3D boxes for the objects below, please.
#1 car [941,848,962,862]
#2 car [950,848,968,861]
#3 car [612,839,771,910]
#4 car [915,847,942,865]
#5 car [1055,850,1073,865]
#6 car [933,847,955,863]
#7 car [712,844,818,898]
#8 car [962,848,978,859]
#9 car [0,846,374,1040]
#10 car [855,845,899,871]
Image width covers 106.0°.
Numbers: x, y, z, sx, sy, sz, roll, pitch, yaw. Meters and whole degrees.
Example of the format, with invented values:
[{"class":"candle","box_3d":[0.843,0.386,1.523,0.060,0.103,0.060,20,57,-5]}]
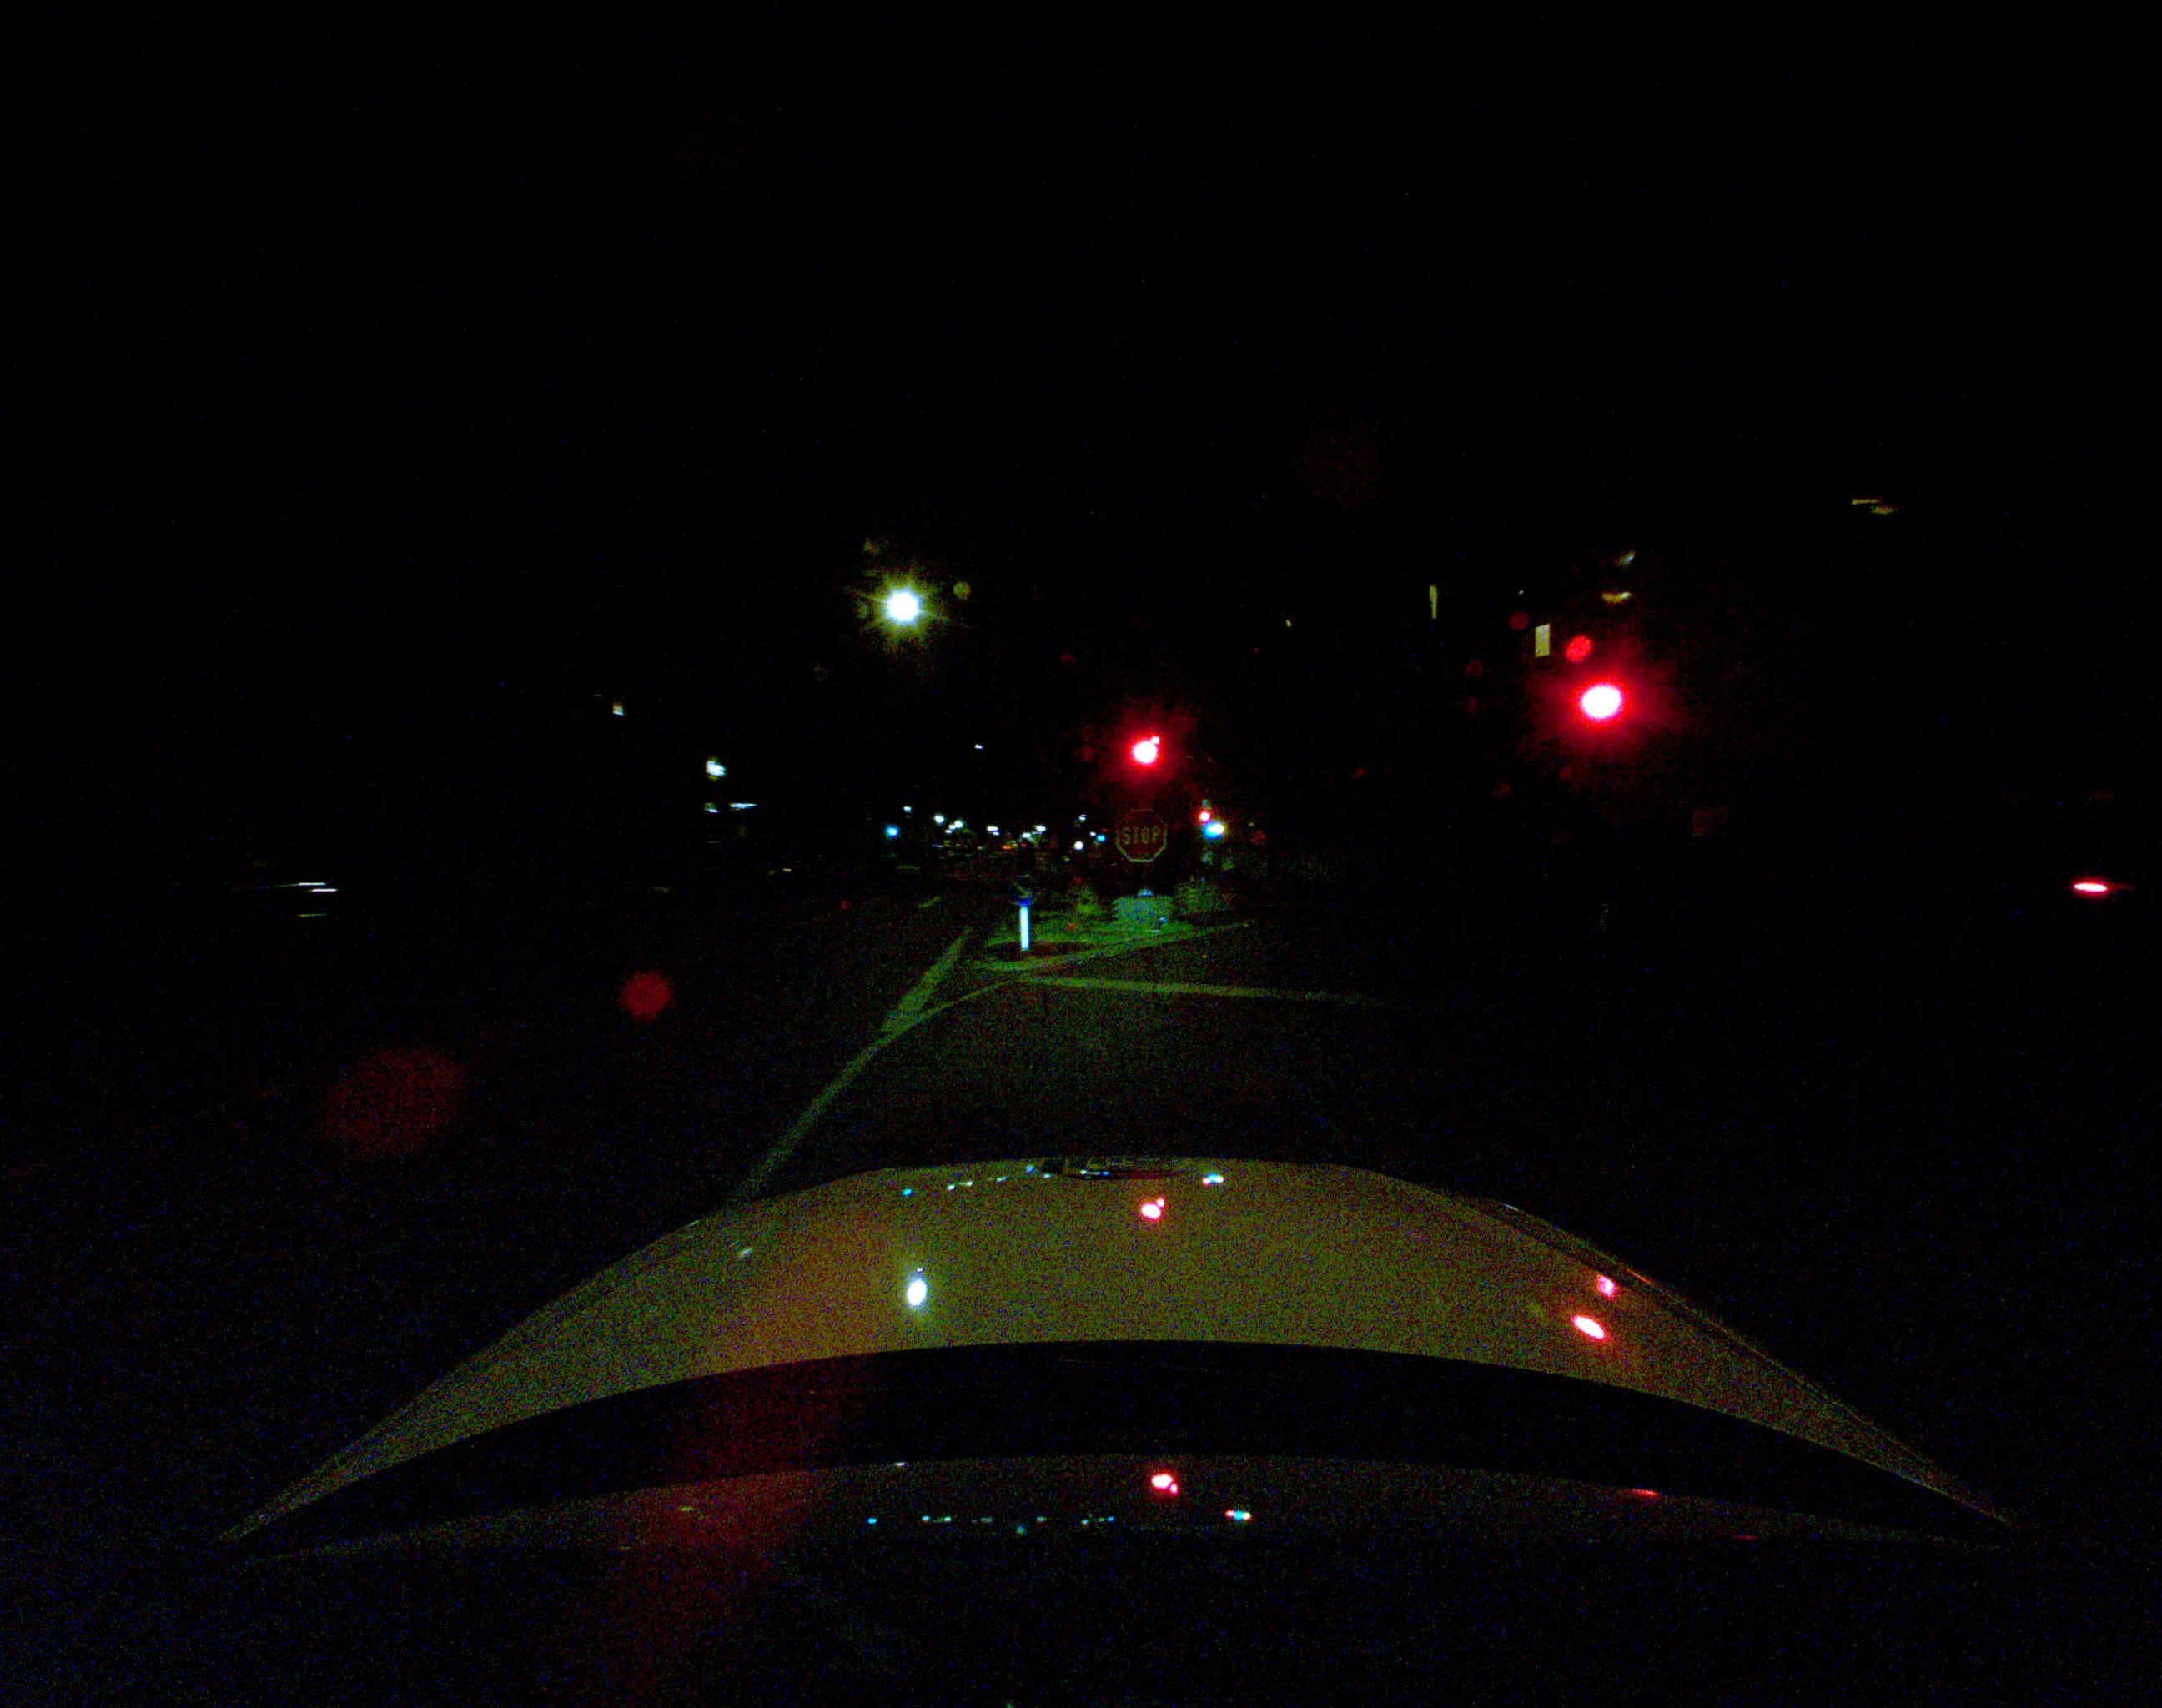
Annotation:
[{"class":"car","box_3d":[-12.932,0.081,81.592,1.648,1.431,3.995,0,0,-3]},{"class":"car","box_3d":[-13.235,0.026,88.465,1.648,1.431,3.995,0,0,-3]},{"class":"car","box_3d":[-9.372,0.443,20.071,1.895,1.471,4.447,3,0,-3]},{"class":"car","box_3d":[-12.611,0.171,67.413,1.648,1.431,3.995,0,0,-3]},{"class":"car","box_3d":[-1.676,0.357,78.860,1.647,1.431,3.997,0,0,-2]},{"class":"car","box_3d":[-12.674,0.110,75.511,1.648,1.431,3.995,0,0,-3]},{"class":"car","box_3d":[-9.577,0.478,25.057,1.800,1.481,4.317,1,0,-4]},{"class":"car","box_3d":[-13.908,-0.086,102.170,1.648,1.431,3.995,0,0,-3]},{"class":"car","box_3d":[-8.616,0.625,6.947,1.620,1.382,4.442,0,0,-6]},{"class":"car","box_3d":[-11.461,0.219,46.025,1.648,1.431,3.995,0,0,-3]}]
